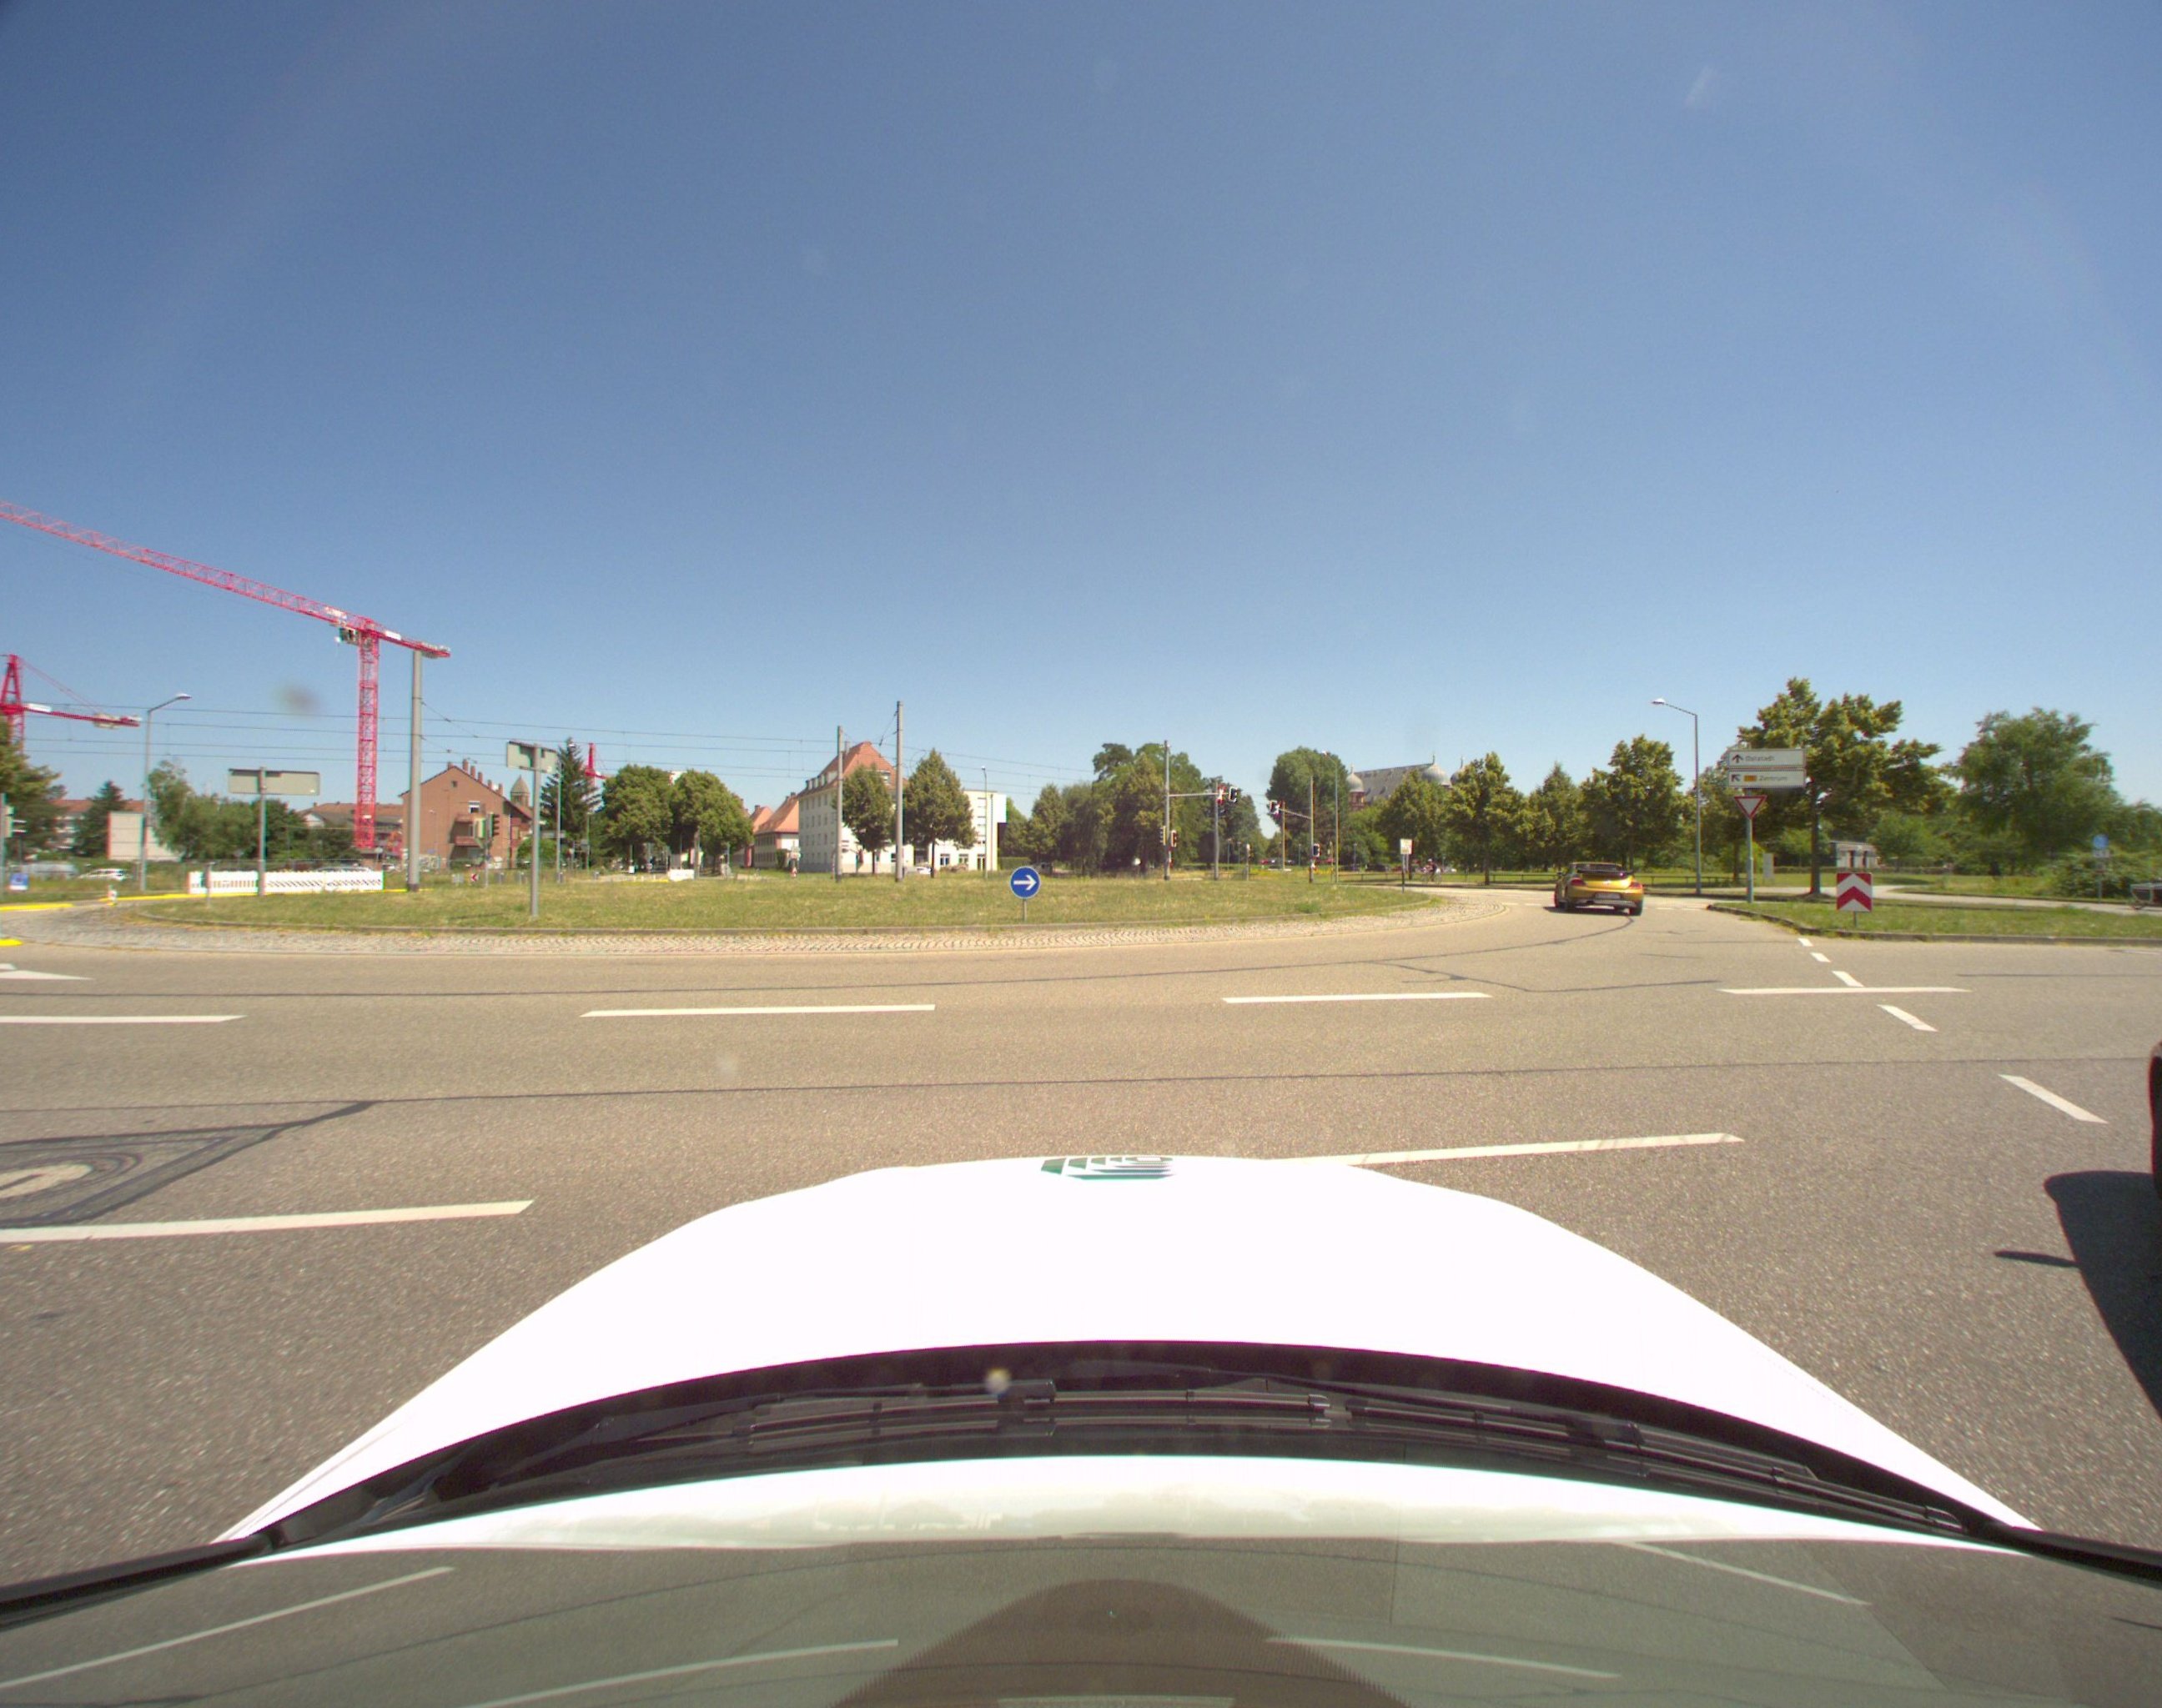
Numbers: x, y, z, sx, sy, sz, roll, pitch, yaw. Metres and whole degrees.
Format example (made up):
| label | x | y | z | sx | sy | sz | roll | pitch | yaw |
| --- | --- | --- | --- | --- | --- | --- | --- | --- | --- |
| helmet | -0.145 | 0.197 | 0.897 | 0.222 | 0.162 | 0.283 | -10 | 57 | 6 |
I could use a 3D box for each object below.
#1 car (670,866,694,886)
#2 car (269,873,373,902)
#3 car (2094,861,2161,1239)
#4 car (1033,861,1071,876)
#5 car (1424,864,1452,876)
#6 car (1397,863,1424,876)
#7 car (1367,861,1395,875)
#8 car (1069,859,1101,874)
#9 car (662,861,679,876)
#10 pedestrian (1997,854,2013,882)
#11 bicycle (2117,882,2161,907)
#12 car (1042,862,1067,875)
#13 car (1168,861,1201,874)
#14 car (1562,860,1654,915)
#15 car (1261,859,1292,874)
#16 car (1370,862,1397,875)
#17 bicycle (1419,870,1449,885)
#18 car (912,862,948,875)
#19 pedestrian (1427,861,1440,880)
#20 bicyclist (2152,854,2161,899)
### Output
| label | x | y | z | sx | sy | sz | roll | pitch | yaw |
| --- | --- | --- | --- | --- | --- | --- | --- | --- | --- |
| car | -39.935 | 2.188 | 81.652 | 2.003 | 2.014 | 3.967 | 2 | -2 | -25 |
| car | -41.087 | 1.812 | 44.138 | 4.022 | 1.464 | 1.976 | 3 | -2 | -43 |
| car | 4.337 | 0.755 | 2.048 | 1.780 | 1.440 | 4.023 | 1 | 0 | 45 |
| car | -3.454 | 1.712 | 95.751 | 4.006 | 1.684 | 1.984 | 2 | -2 | -25 |
| car | 59.158 | 2.657 | 134.995 | 3.948 | 2.014 | 2.012 | 0 | -2 | 34 |
| car | 53.534 | 2.458 | 132.275 | 3.950 | 2.014 | 2.011 | 1 | -2 | 26 |
| car | 46.853 | 2.173 | 127.113 | 3.950 | 2.014 | 2.011 | 1 | -2 | 26 |
| car | 0.554 | 1.726 | 112.729 | 3.954 | 2.014 | 2.009 | 1 | -2 | 19 |
| car | -59.449 | 2.075 | 118.018 | 2.003 | 2.014 | 3.967 | 2 | -2 | -25 |
| pedestrian | 59.090 | 0.889 | 52.078 | 0.677 | 1.731 | 0.569 | 2 | -2 | -29 |
| bicycle | 39.657 | 1.490 | 29.444 | 0.736 | 0.912 | 2.929 | 1 | -2 | 1 |
| car | -4.305 | 2.436 | 133.791 | 3.971 | 2.014 | 2.001 | 1 | -2 | 2 |
| car | 13.679 | 1.779 | 107.404 | 3.951 | 1.574 | 2.011 | 1 | -2 | 23 |
| car | 14.826 | 0.911 | 23.100 | 1.809 | 1.403 | 3.683 | 1 | -1 | 27 |
| car | 28.151 | 1.767 | 117.043 | 3.950 | 2.014 | 2.011 | 1 | -2 | 26 |
| car | 48.997 | 2.348 | 131.967 | 3.950 | 2.014 | 2.011 | 1 | -2 | 26 |
| bicycle | 27.653 | 1.836 | 63.719 | 2.032 | 1.115 | 0.734 | 0 | -2 | 36 |
| car | -18.034 | 1.763 | 97.020 | 3.906 | 1.420 | 1.702 | 2 | -2 | -25 |
| pedestrian | 27.593 | 1.317 | 63.797 | 0.807 | 1.451 | 0.714 | 0 | -2 | 36 |
| bicyclist | 39.676 | 0.814 | 29.382 | 0.751 | 1.614 | 0.978 | 1 | -2 | 0 |
